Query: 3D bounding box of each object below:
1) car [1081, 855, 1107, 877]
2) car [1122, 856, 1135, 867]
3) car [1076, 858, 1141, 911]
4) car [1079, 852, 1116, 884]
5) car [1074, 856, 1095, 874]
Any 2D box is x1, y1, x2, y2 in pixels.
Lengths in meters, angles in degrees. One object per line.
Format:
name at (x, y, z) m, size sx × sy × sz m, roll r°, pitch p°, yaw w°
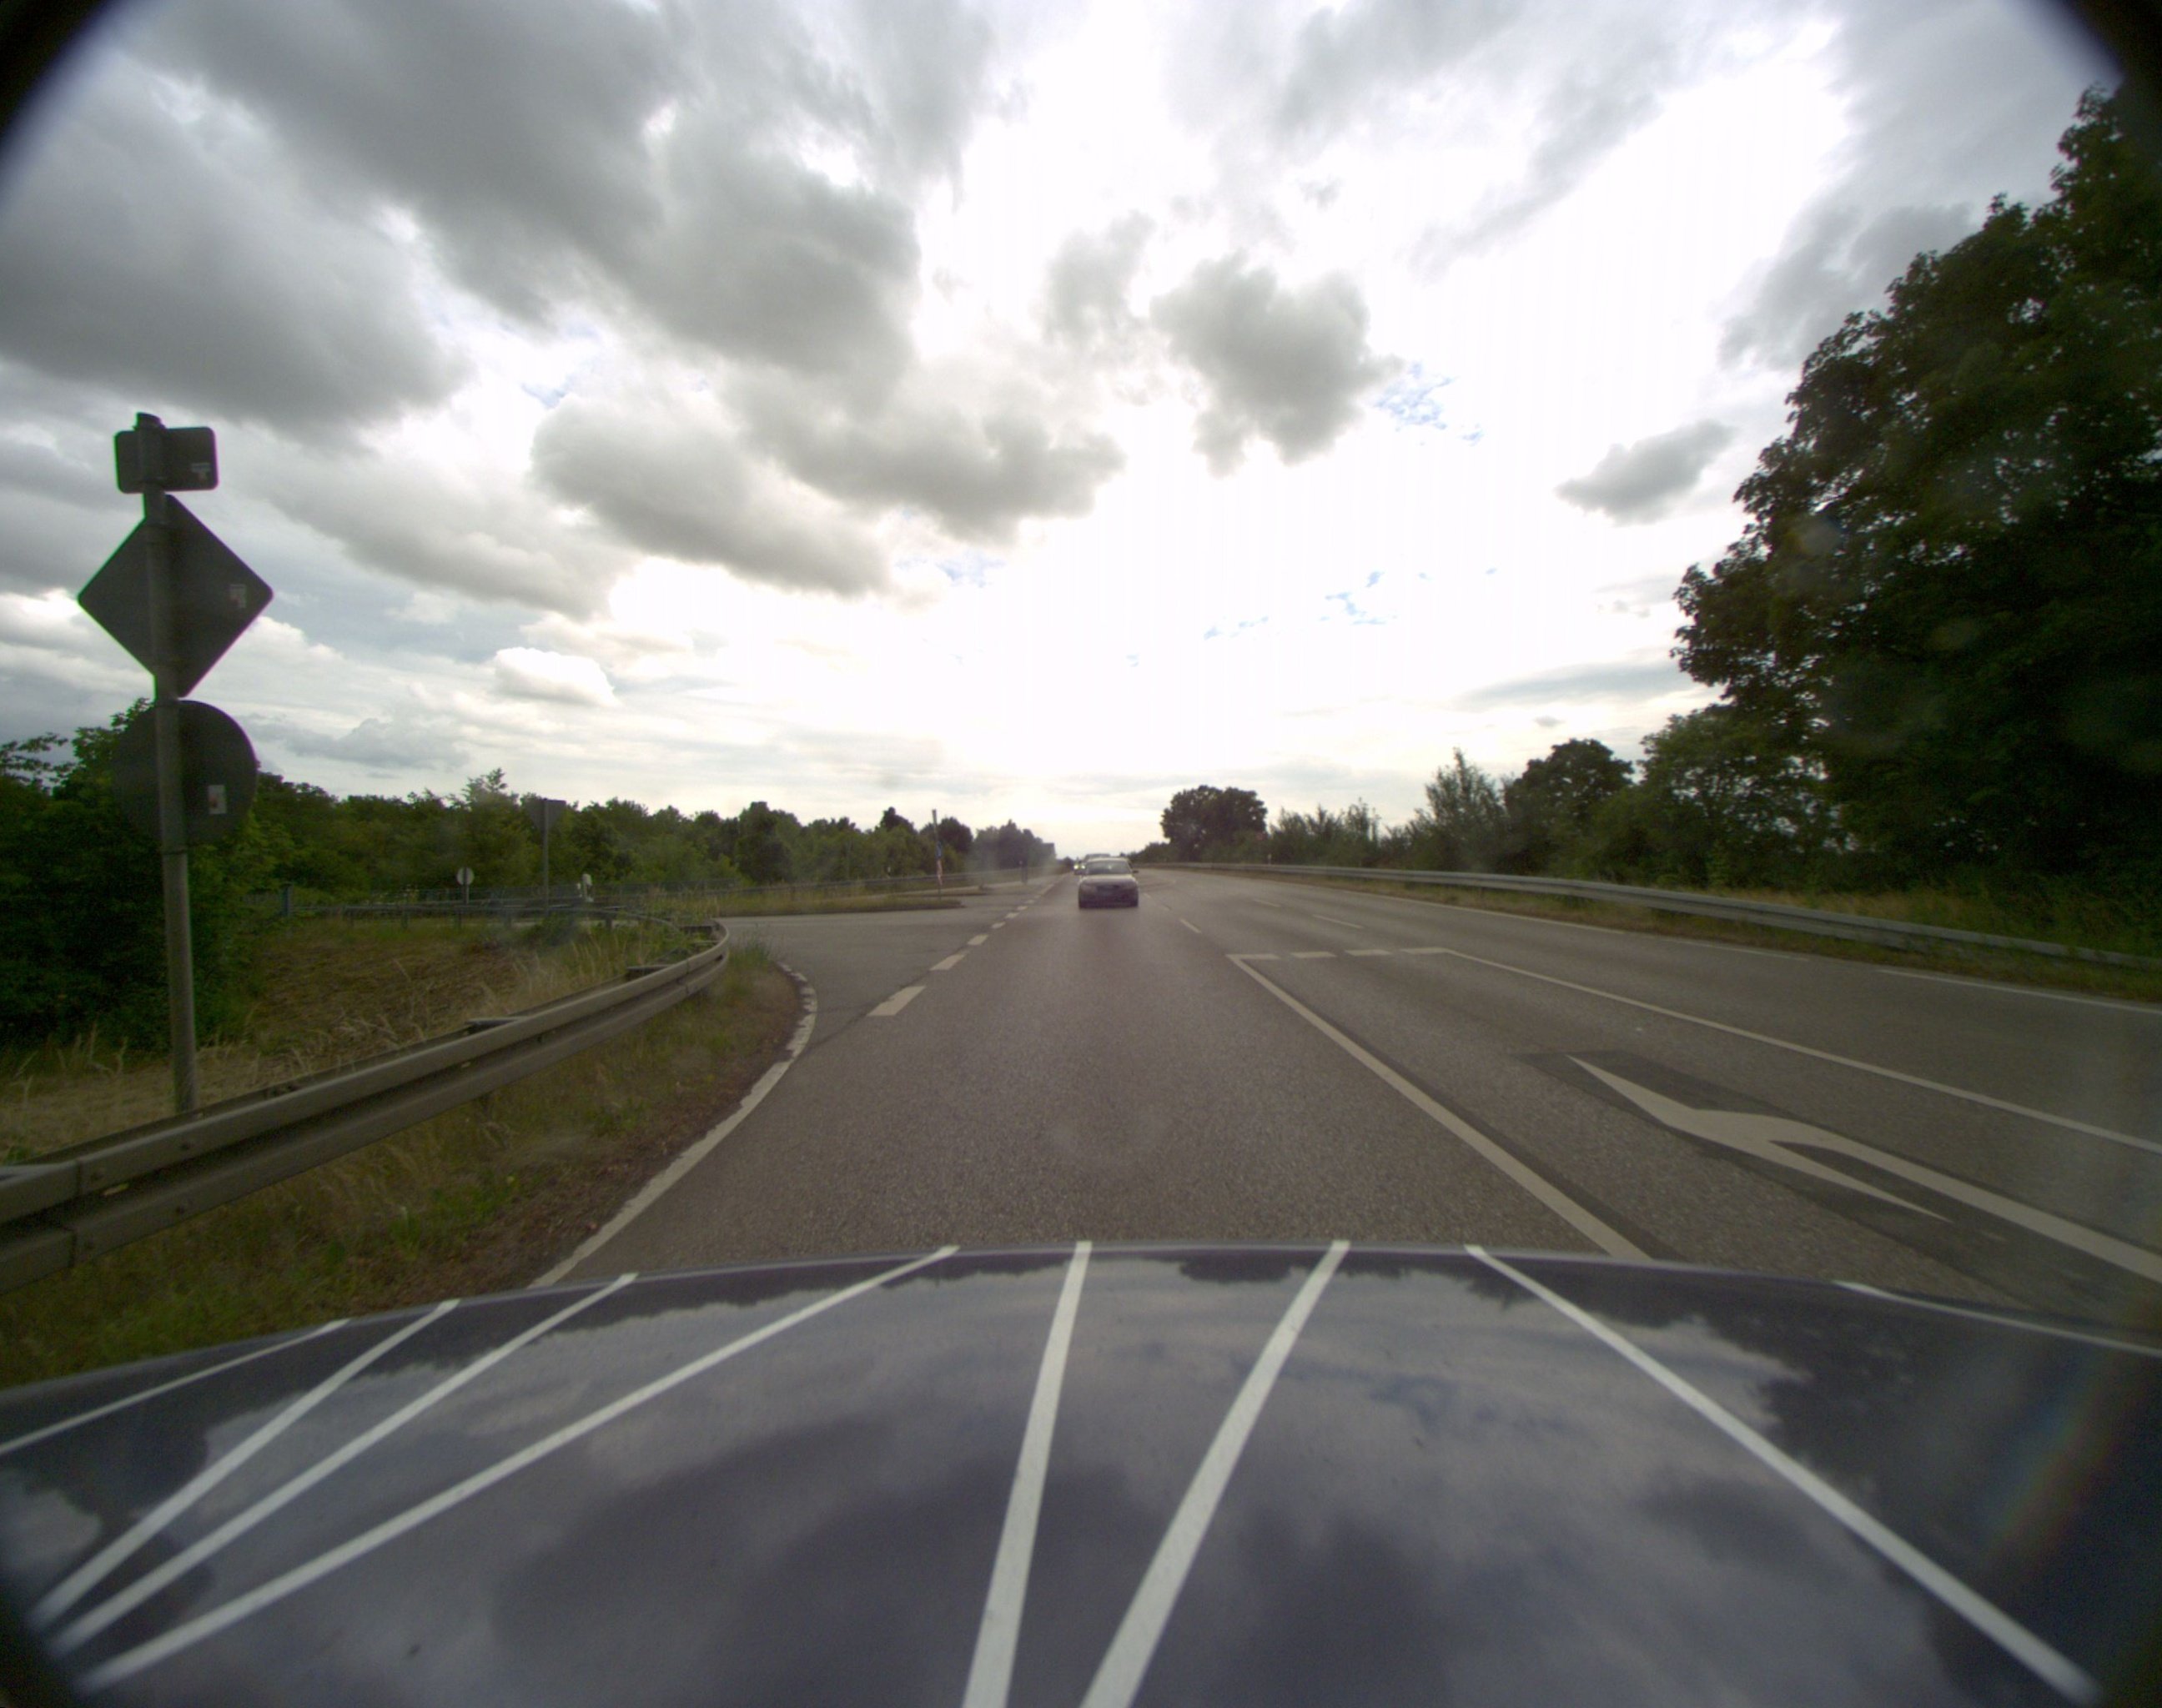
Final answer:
car at (0.922, 0.856, 56.949) m, size 1.835 × 1.537 × 4.035 m, roll -2°, pitch 0°, yaw 0°
car at (7.170, 1.122, 114.280) m, size 1.715 × 1.514 × 4.000 m, roll -2°, pitch 0°, yaw 0°
car at (0.792, 0.881, 23.332) m, size 1.784 × 1.441 × 4.035 m, roll -2°, pitch -1°, yaw 0°
car at (0.845, 0.736, 40.741) m, size 1.835 × 1.537 × 4.035 m, roll -2°, pitch 0°, yaw 0°
car at (0.323, 1.000, 68.252) m, size 1.835 × 1.537 × 4.035 m, roll -2°, pitch 0°, yaw 0°
